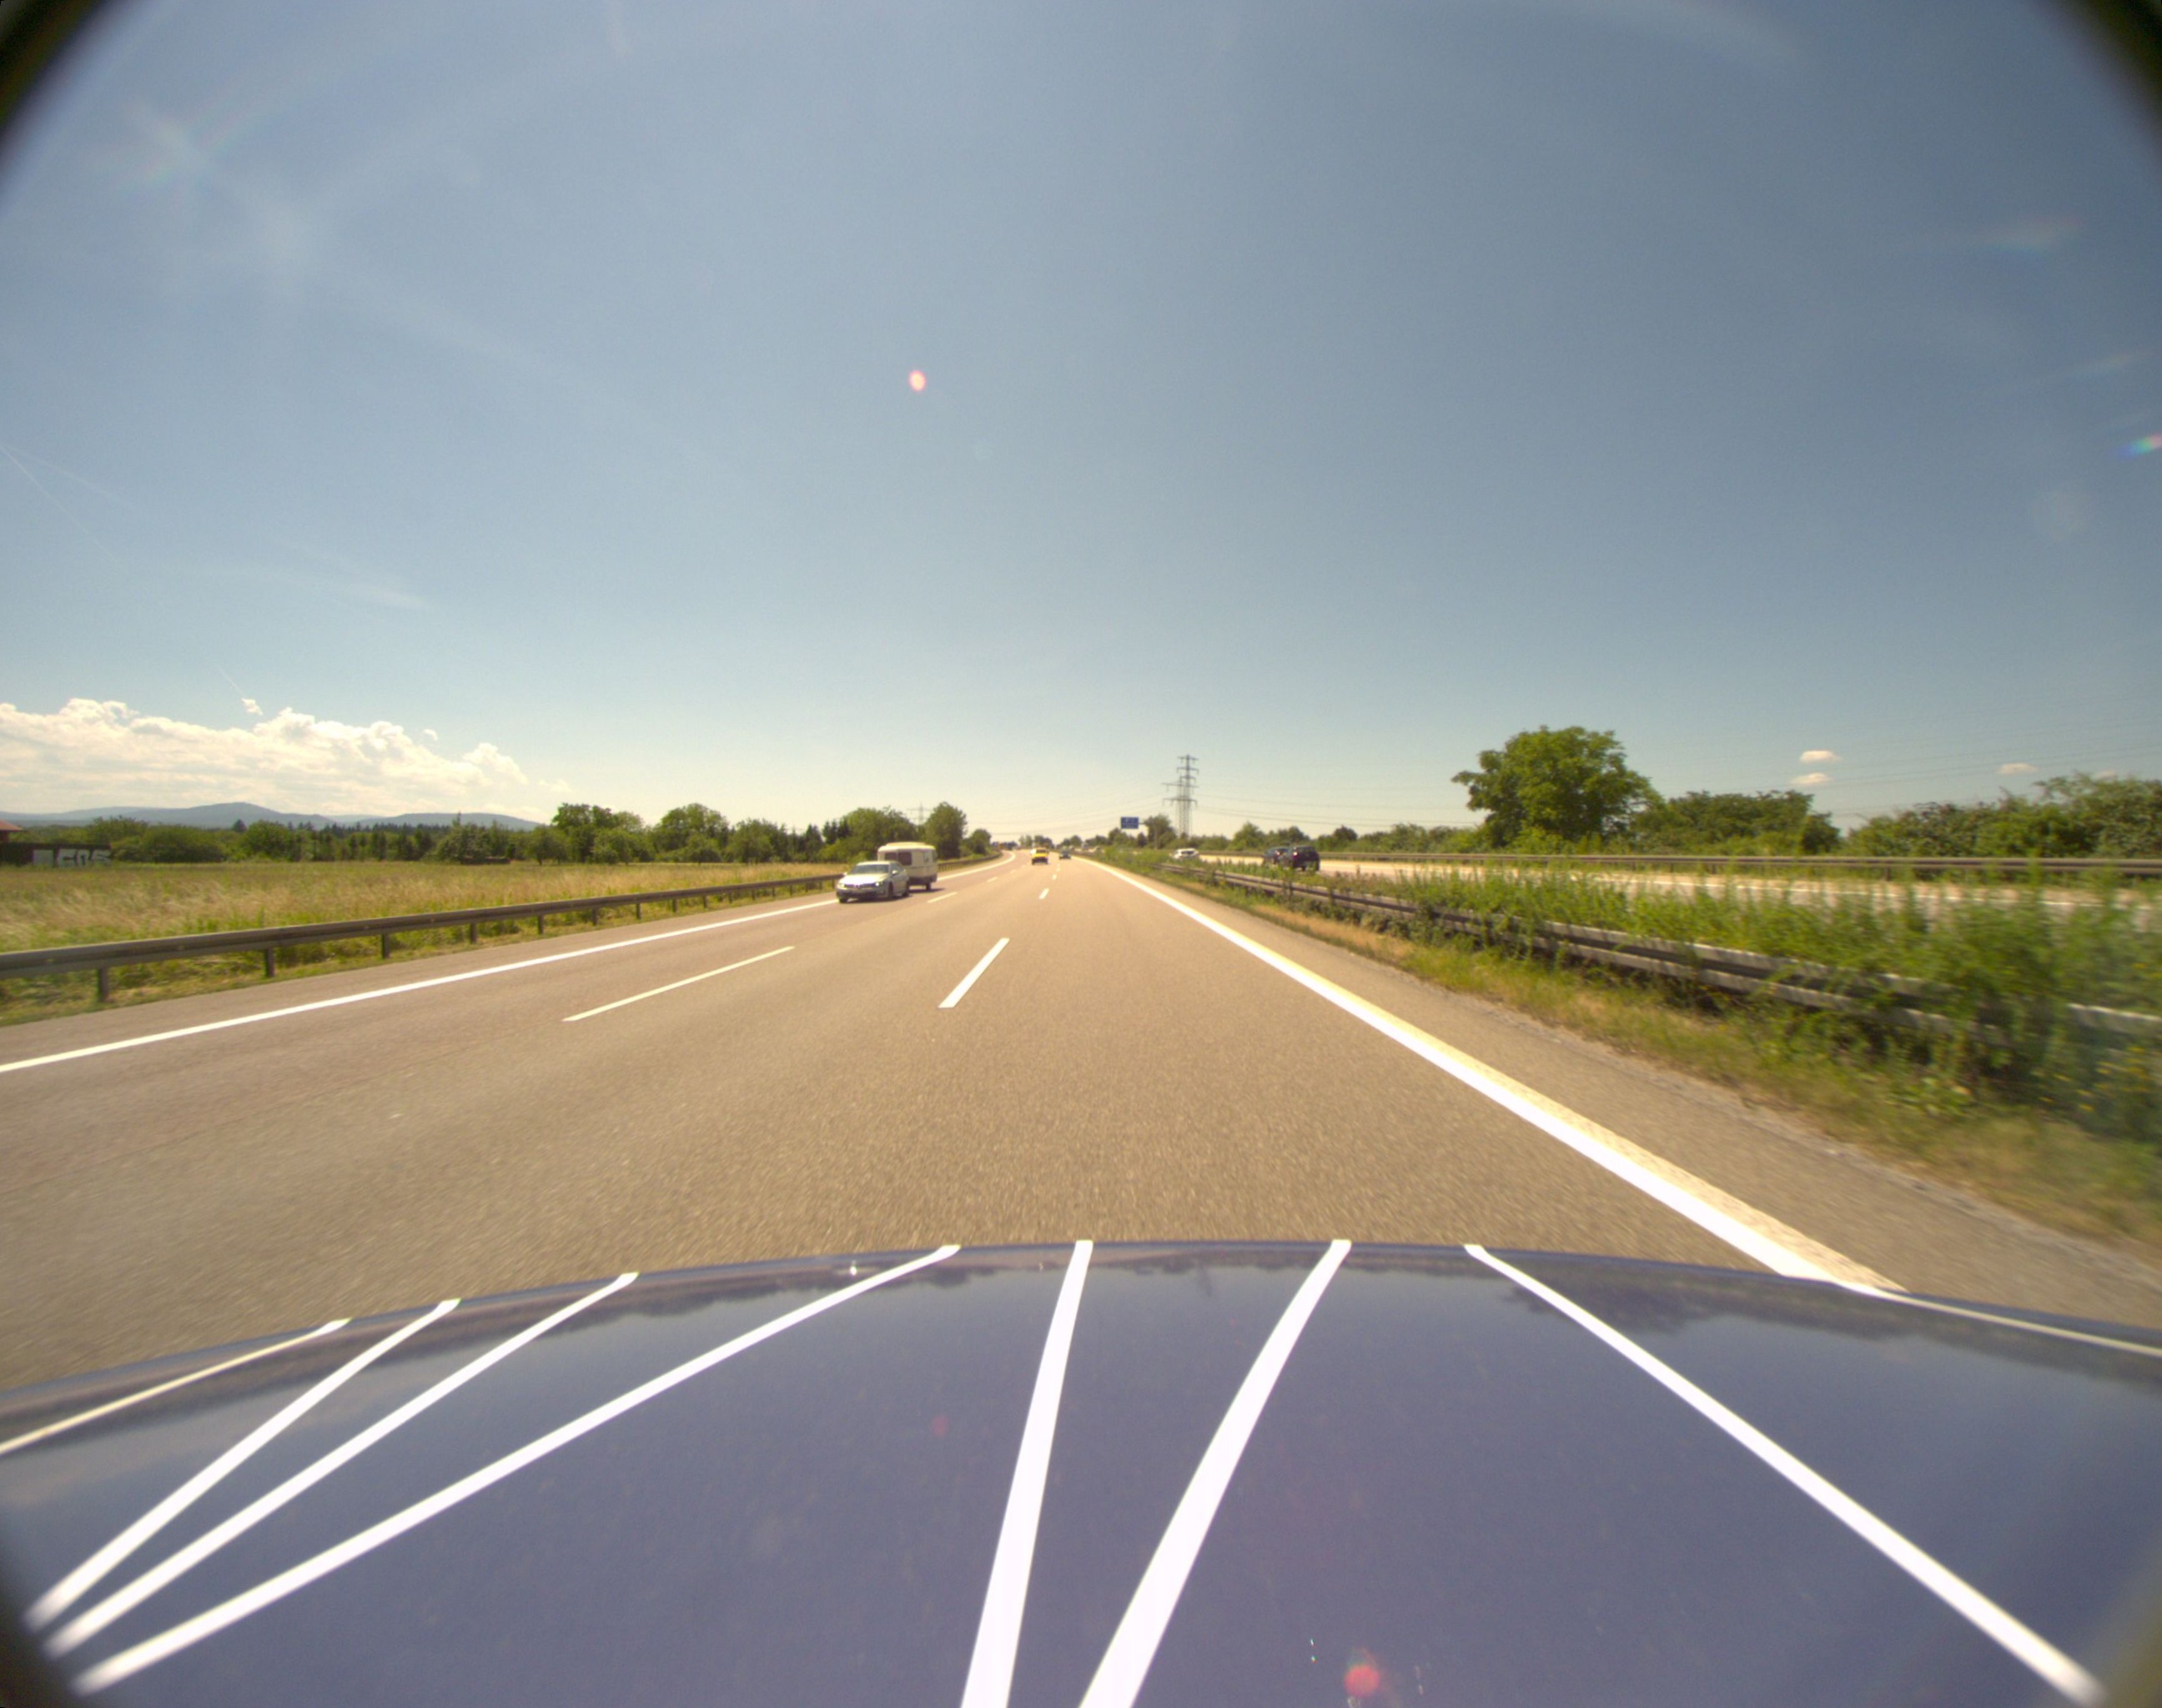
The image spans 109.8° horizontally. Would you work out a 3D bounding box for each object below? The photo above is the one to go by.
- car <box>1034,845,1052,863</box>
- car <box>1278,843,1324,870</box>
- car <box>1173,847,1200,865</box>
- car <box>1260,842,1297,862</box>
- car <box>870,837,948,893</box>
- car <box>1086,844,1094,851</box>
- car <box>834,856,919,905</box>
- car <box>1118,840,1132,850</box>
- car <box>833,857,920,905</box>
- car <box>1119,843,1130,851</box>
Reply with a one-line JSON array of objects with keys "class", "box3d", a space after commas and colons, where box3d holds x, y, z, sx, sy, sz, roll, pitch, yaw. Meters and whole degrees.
[{"class": "car", "box3d": [-4.522, 0.034, 90.894, 1.955, 2.001, 5.432, 0, 0, -1]}, {"class": "car", "box3d": [13.570, 0.106, 47.052, 1.649, 1.552, 4.065, -1, 1, 0]}, {"class": "car", "box3d": [9.248, 0.141, 66.973, 1.688, 1.481, 4.727, -1, 1, 0]}, {"class": "car", "box3d": [16.550, -0.186, 63.784, 1.787, 1.652, 4.656, -1, 1, -1]}, {"class": "car", "box3d": [-7.730, 0.471, 34.779, 2.449, 2.308, 5.321, -1, 0, -1]}, {"class": "car", "box3d": [3.139, -2.265, 267.672, 2.000, 2.670, 7.177, -2, 1, -7]}, {"class": "car", "box3d": [-7.617, 0.932, 28.913, 2.051, 1.648, 5.508, -1, 0, -4]}, {"class": "car", "box3d": [7.180, -1.452, 123.765, 1.815, 1.552, 4.403, -1, 1, -2]}, {"class": "car", "box3d": [-7.611, 0.926, 28.831, 1.892, 1.506, 5.378, -2, 1, -1]}, {"class": "car", "box3d": [9.266, -1.458, 162.631, 1.999, 1.679, 4.501, -1, 1, -2]}]
